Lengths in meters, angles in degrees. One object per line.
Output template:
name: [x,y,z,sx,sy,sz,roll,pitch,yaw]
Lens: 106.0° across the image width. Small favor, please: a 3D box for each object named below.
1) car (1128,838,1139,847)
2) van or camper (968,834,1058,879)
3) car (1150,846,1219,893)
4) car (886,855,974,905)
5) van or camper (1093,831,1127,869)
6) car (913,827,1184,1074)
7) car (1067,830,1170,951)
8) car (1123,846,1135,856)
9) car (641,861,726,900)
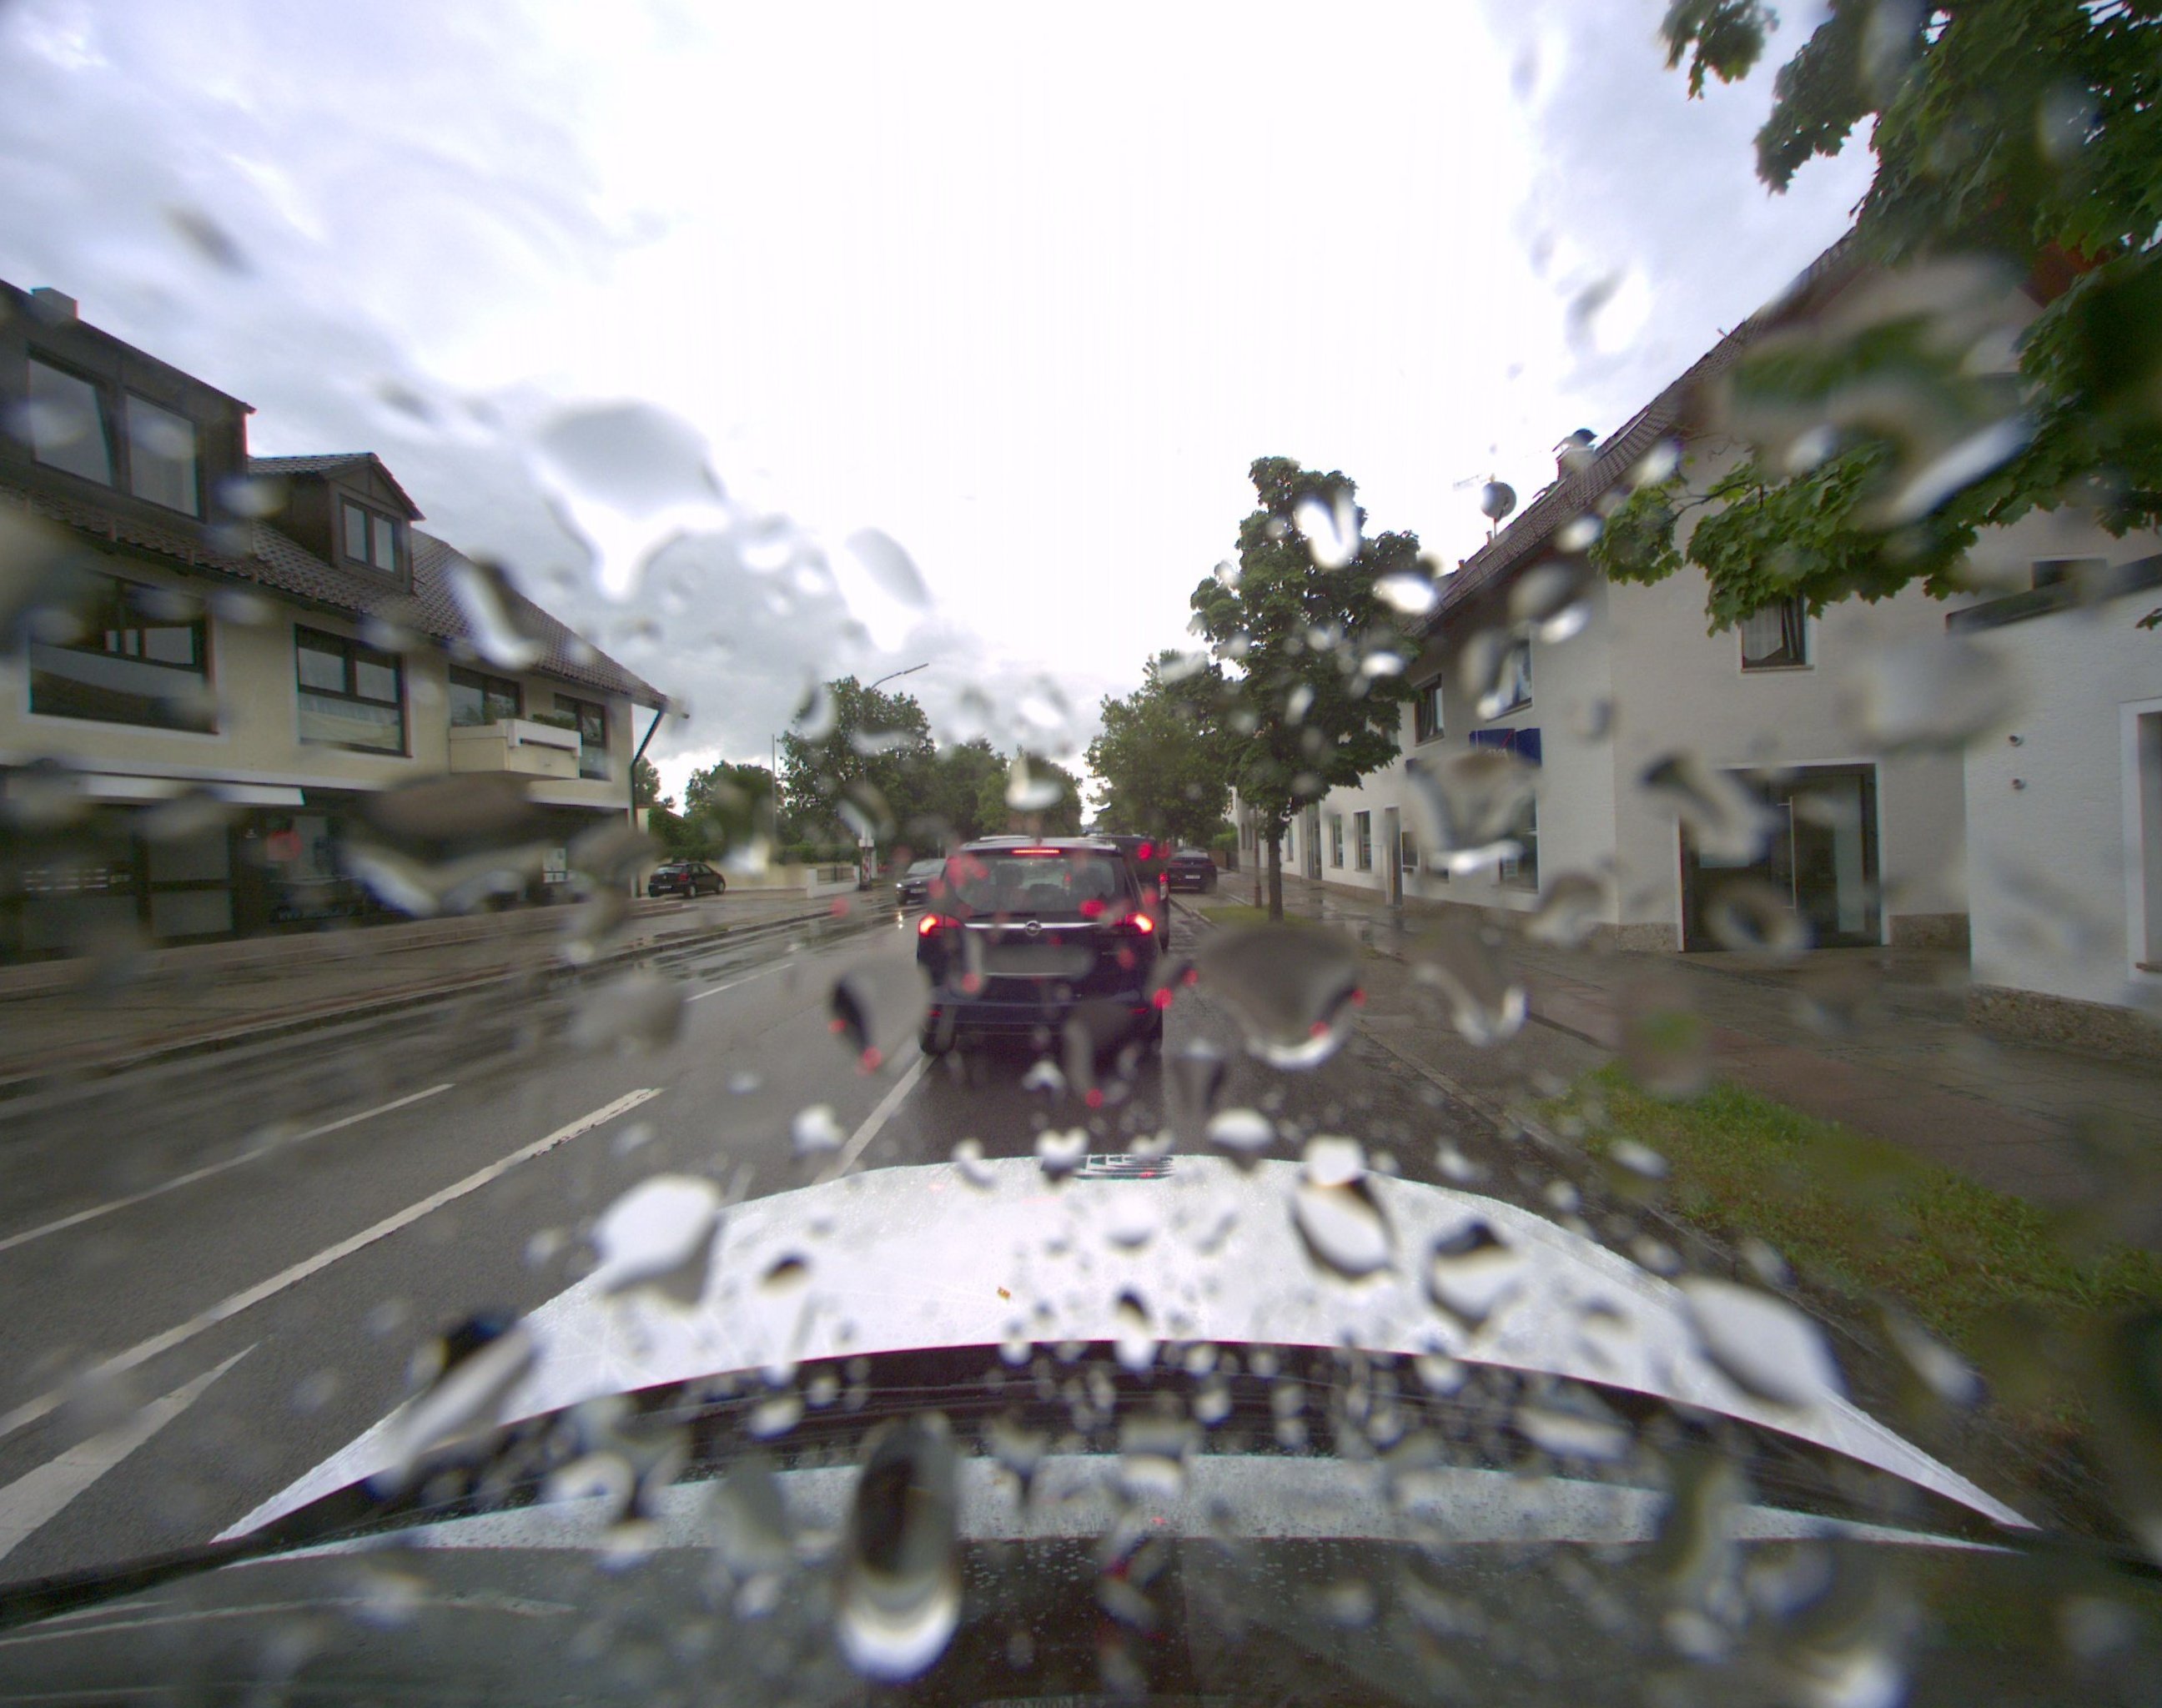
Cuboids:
car: [8.180,-1.786,127.548,1.624,1.378,3.624,-3,0,2]
van or camper: [-4.408,0.219,52.047,6.189,2.707,2.114,-2,0,44]
car: [3.674,0.539,29.546,2.110,1.581,3.936,0,0,1]
car: [-4.931,0.815,27.130,1.988,1.407,3.886,-3,0,2]
van or camper: [2.211,-0.316,61.658,2.351,2.665,5.374,-2,0,2]
car: [-0.154,0.632,7.176,1.762,1.604,3.665,-1,0,2]
car: [0.608,0.535,13.556,1.494,1.776,3.113,0,0,2]
car: [6.905,-0.367,118.260,1.624,1.378,3.624,-1,0,2]
car: [-16.264,1.053,33.517,1.601,1.380,3.510,-3,0,2]
